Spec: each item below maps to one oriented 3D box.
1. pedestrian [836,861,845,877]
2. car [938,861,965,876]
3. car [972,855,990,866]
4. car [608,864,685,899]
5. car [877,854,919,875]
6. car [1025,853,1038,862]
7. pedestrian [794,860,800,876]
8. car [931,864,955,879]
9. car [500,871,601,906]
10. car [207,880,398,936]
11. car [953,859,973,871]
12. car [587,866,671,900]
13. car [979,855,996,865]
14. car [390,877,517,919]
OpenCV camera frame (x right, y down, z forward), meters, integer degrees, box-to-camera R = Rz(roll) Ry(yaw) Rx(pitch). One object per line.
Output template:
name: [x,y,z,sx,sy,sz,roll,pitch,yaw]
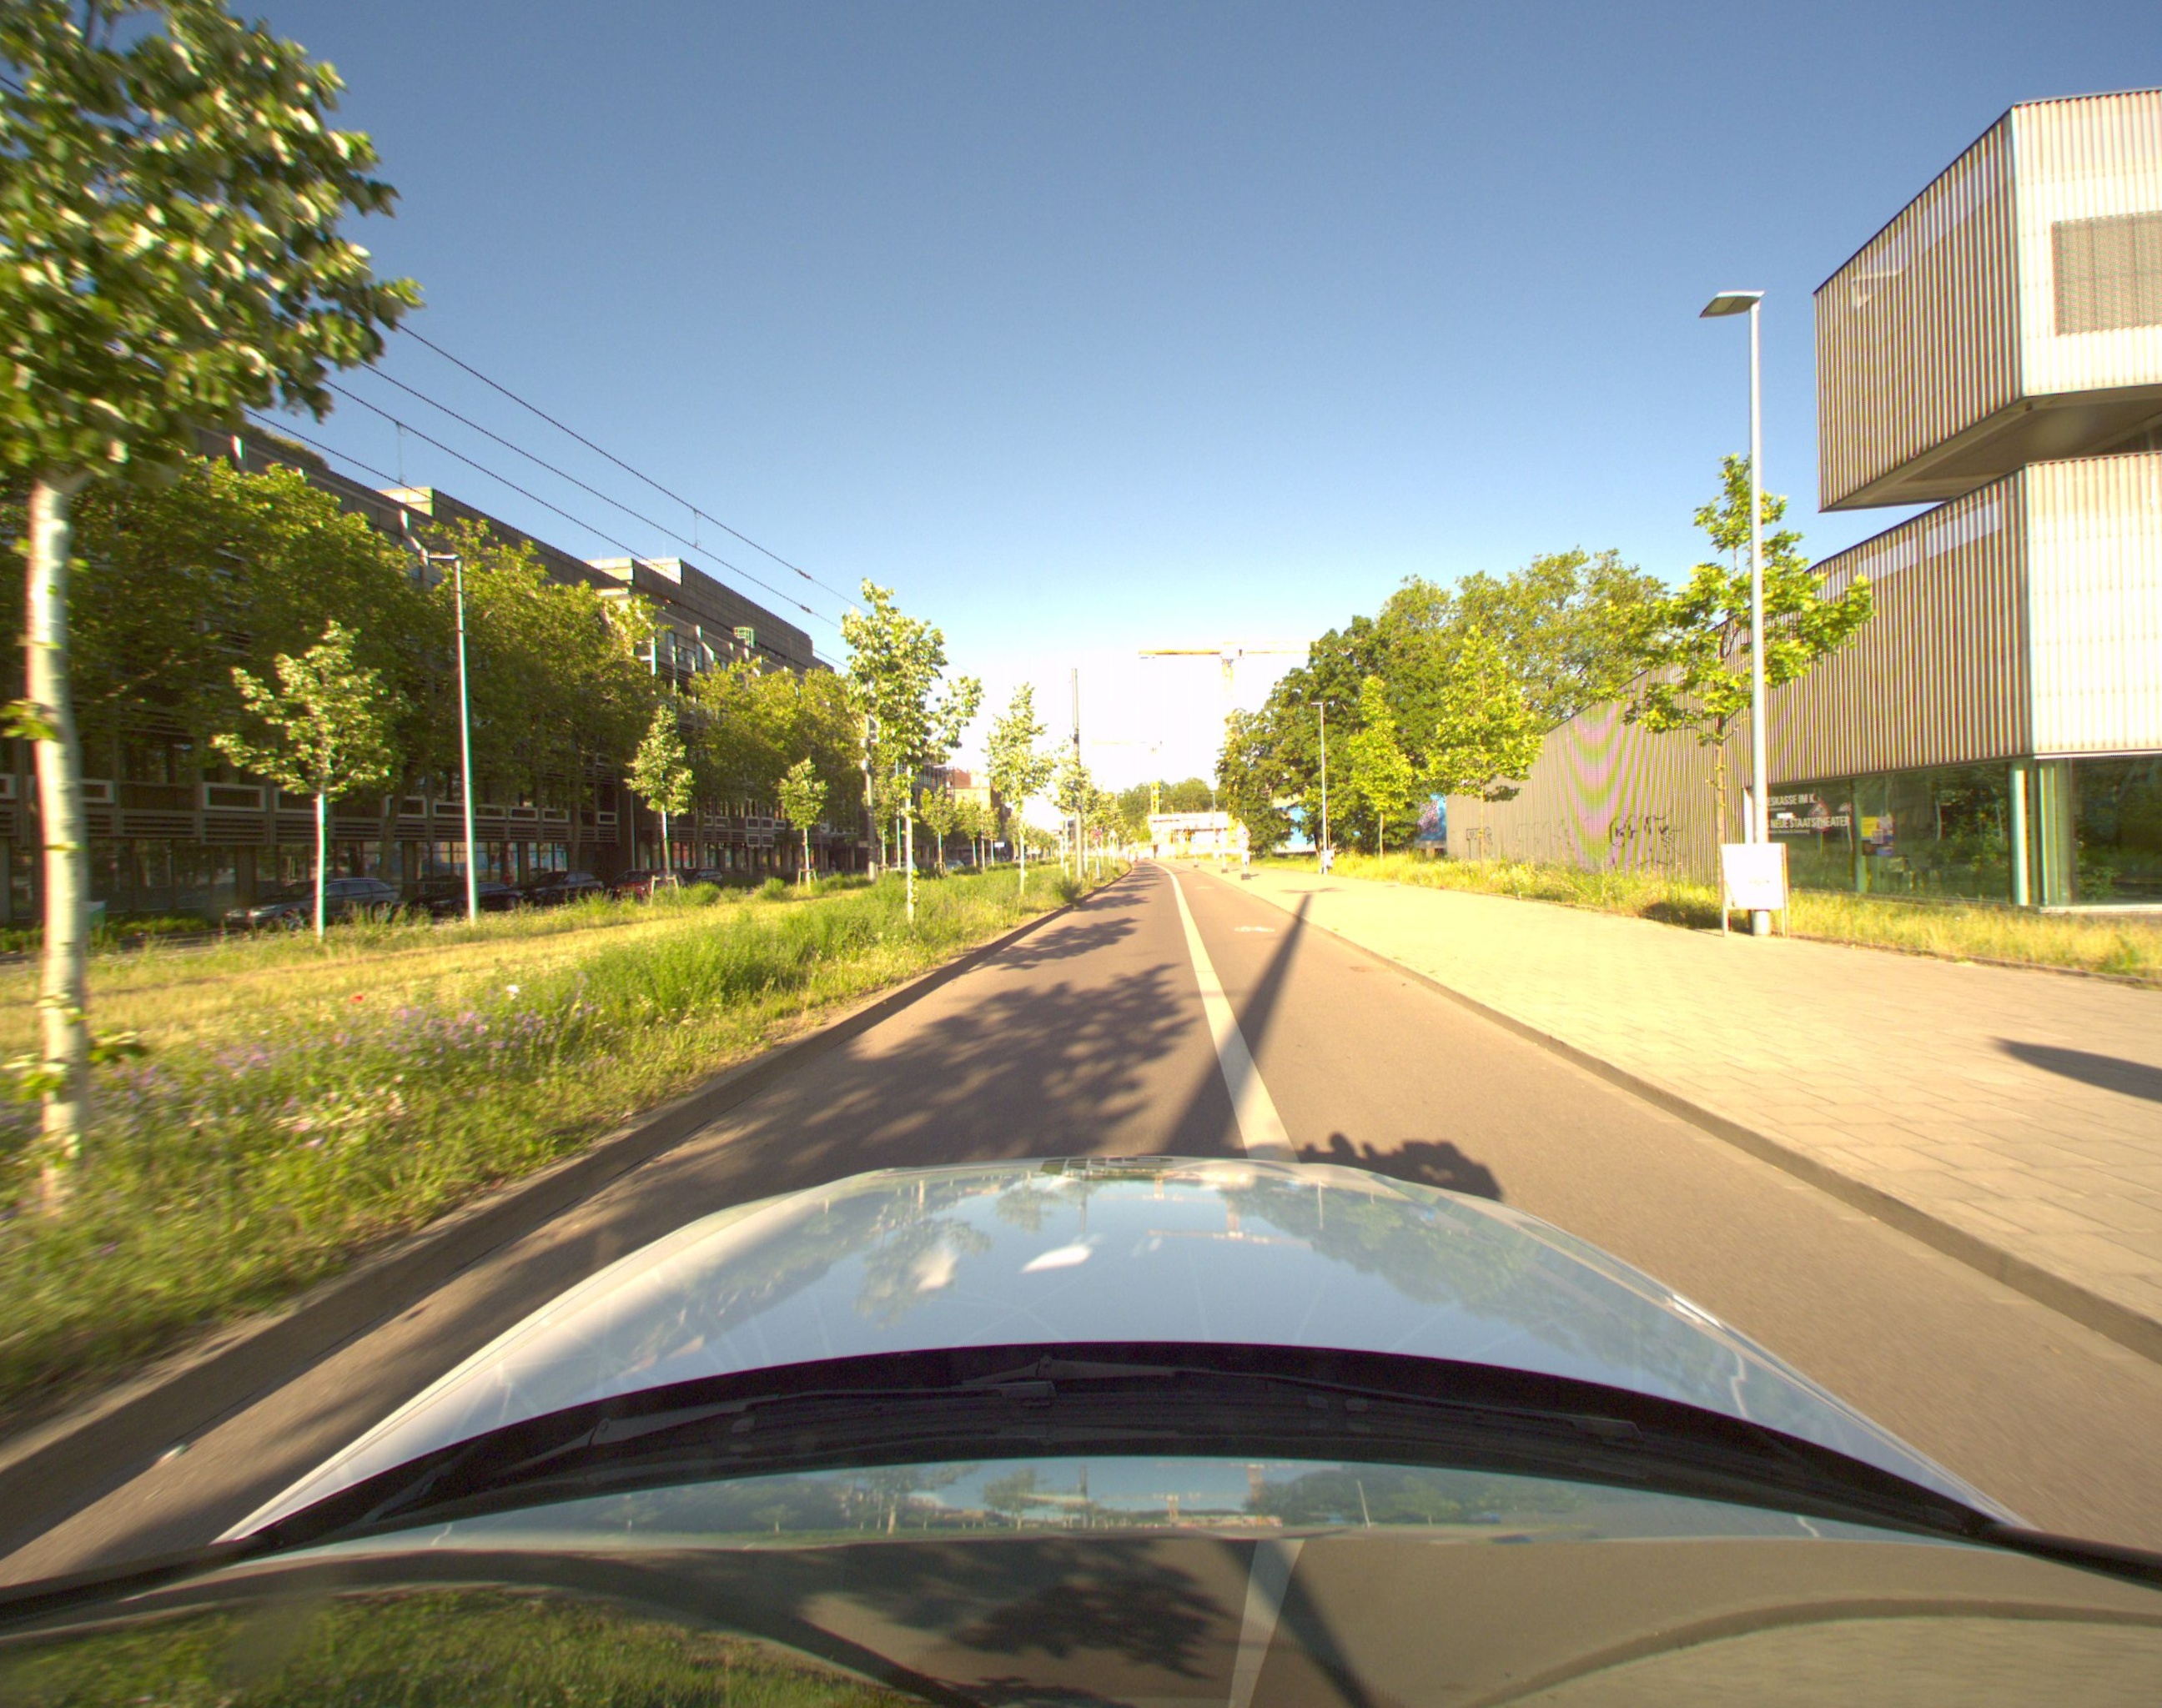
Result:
pedestrian: [-23.745,1.510,80.454,0.662,1.532,0.648,-2,0,-5]
car: [-14.159,1.602,89.382,1.749,1.516,4.591,-3,0,6]
car: [-15.358,0.983,125.680,1.895,1.575,4.306,-2,0,4]
car: [-21.540,1.336,40.510,1.704,1.453,3.578,-5,0,2]
car: [-15.327,0.846,68.447,1.830,1.594,4.702,-4,0,7]
car: [-9.564,0.729,158.092,1.895,1.575,4.415,-2,0,4]
pedestrian: [-26.776,1.314,76.790,0.407,1.561,0.448,-2,0,6]
car: [-17.086,2.142,100.889,1.895,1.575,4.306,-2,0,4]
car: [-26.419,1.684,40.755,1.736,1.557,4.629,-1,0,5]
car: [-27.747,1.864,29.303,1.985,1.680,4.873,-1,0,3]
car: [-16.620,1.553,115.239,1.895,1.575,4.306,-2,0,4]
car: [-26.008,1.637,47.077,1.900,1.632,4.372,-4,0,8]
car: [-15.081,0.926,131.482,1.895,1.575,4.306,-2,0,4]
car: [-26.952,1.855,35.161,1.982,1.521,4.010,-1,0,9]
